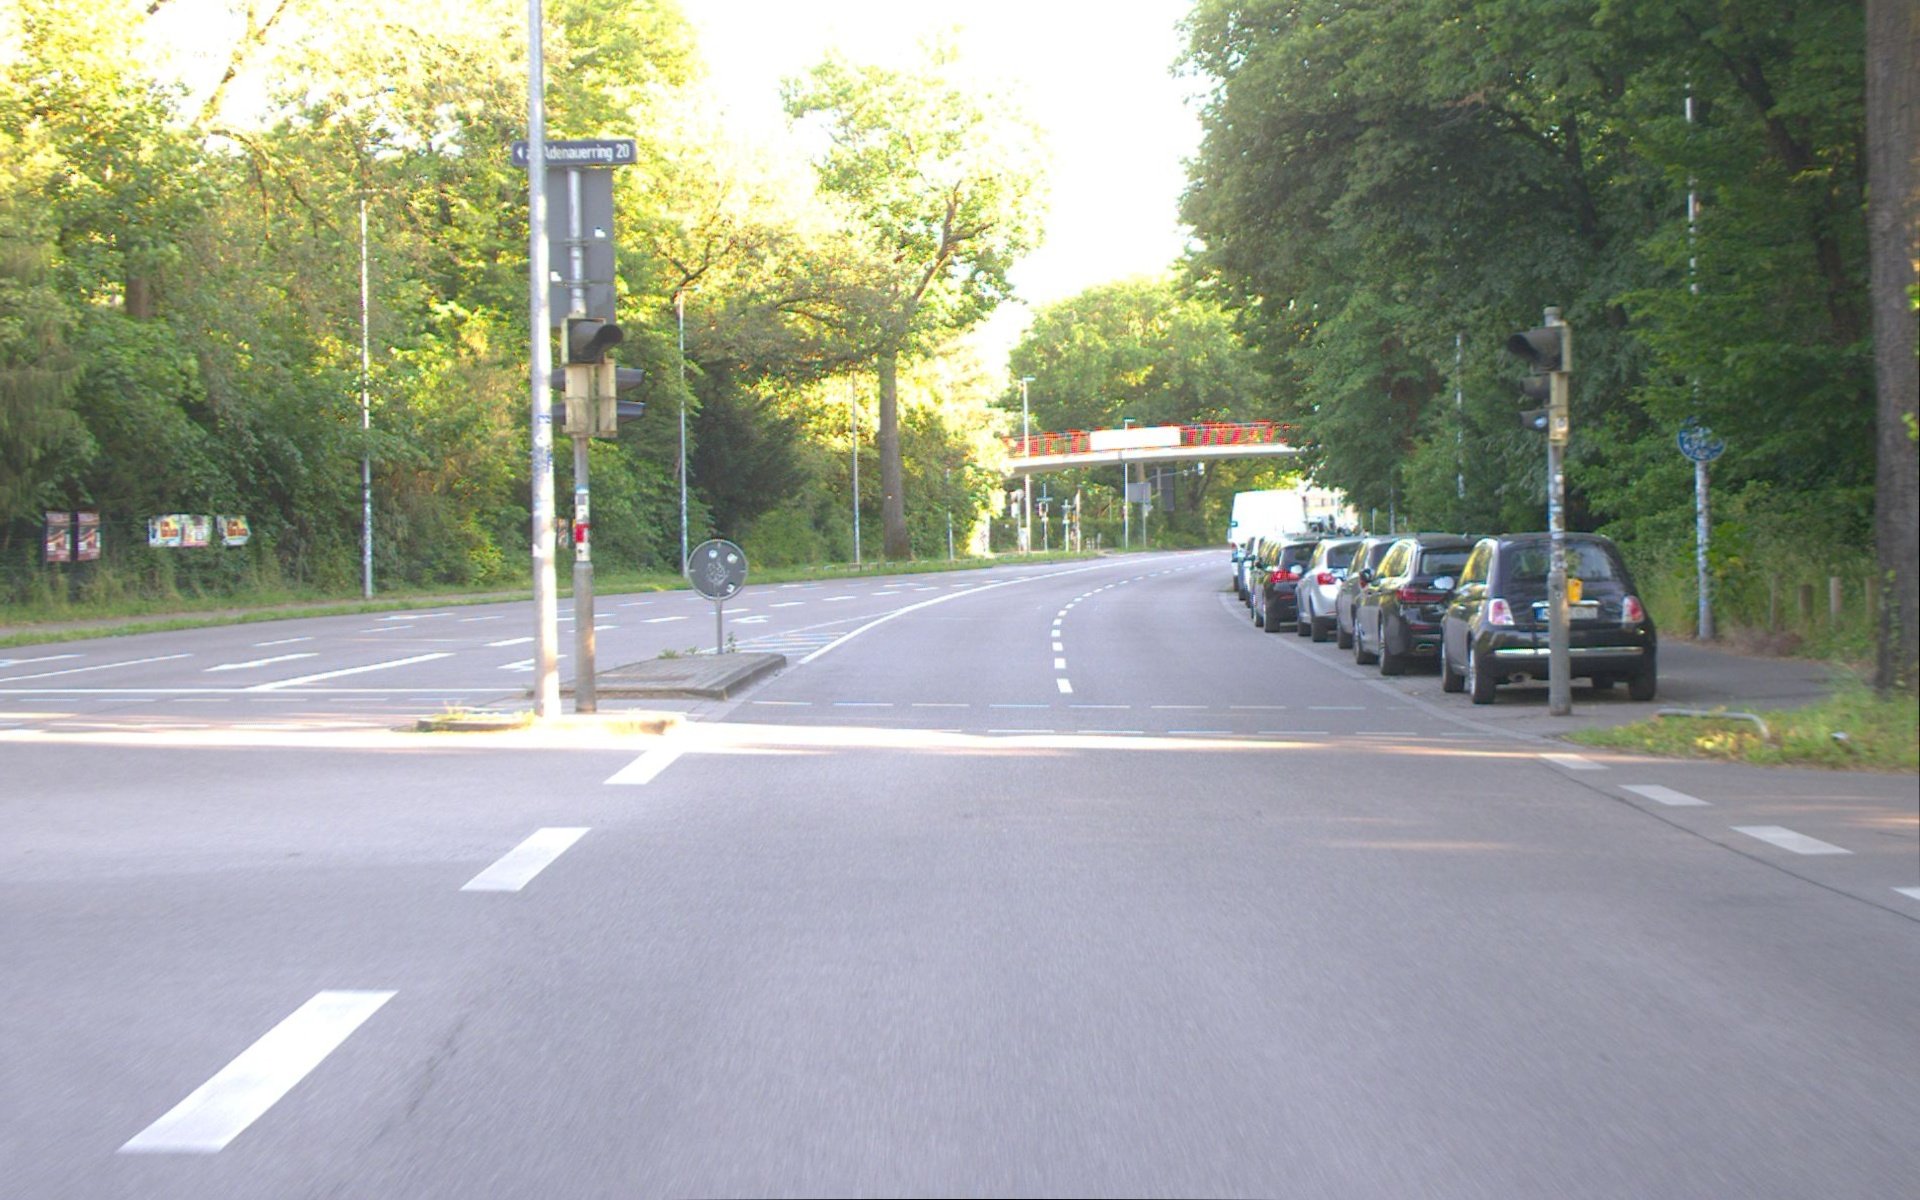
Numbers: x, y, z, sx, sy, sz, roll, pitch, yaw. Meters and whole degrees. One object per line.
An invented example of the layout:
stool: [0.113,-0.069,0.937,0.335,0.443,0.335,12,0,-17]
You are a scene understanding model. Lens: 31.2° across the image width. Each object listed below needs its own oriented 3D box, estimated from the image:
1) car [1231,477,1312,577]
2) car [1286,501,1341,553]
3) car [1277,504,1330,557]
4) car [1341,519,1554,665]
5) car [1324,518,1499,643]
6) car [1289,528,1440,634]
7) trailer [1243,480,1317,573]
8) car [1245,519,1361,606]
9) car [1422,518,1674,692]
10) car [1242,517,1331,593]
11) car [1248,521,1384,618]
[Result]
car: [7.966,-1.842,87.508,1.904,2.415,5.575,-1,1,6]
car: [13.902,-2.859,135.034,1.869,1.974,5.473,-1,1,8]
car: [12.261,-2.463,122.496,1.759,1.798,4.736,-1,1,7]
car: [5.318,-0.121,38.041,1.718,1.464,4.988,-1,1,1]
car: [5.673,-0.268,43.604,1.718,1.464,4.202,-1,1,1]
car: [5.695,-0.294,48.809,1.718,1.407,4.124,-1,1,1]
trailer: [8.796,-2.009,94.239,1.904,2.415,5.125,-1,1,6]
car: [5.859,-0.661,59.136,1.718,1.407,4.487,-1,1,3]
car: [5.324,0.014,31.519,1.718,1.464,3.756,-1,1,1]
car: [6.619,-0.921,69.952,1.678,1.459,3.688,-1,1,4]
car: [5.523,-0.496,53.759,1.718,1.407,4.487,-1,1,1]
